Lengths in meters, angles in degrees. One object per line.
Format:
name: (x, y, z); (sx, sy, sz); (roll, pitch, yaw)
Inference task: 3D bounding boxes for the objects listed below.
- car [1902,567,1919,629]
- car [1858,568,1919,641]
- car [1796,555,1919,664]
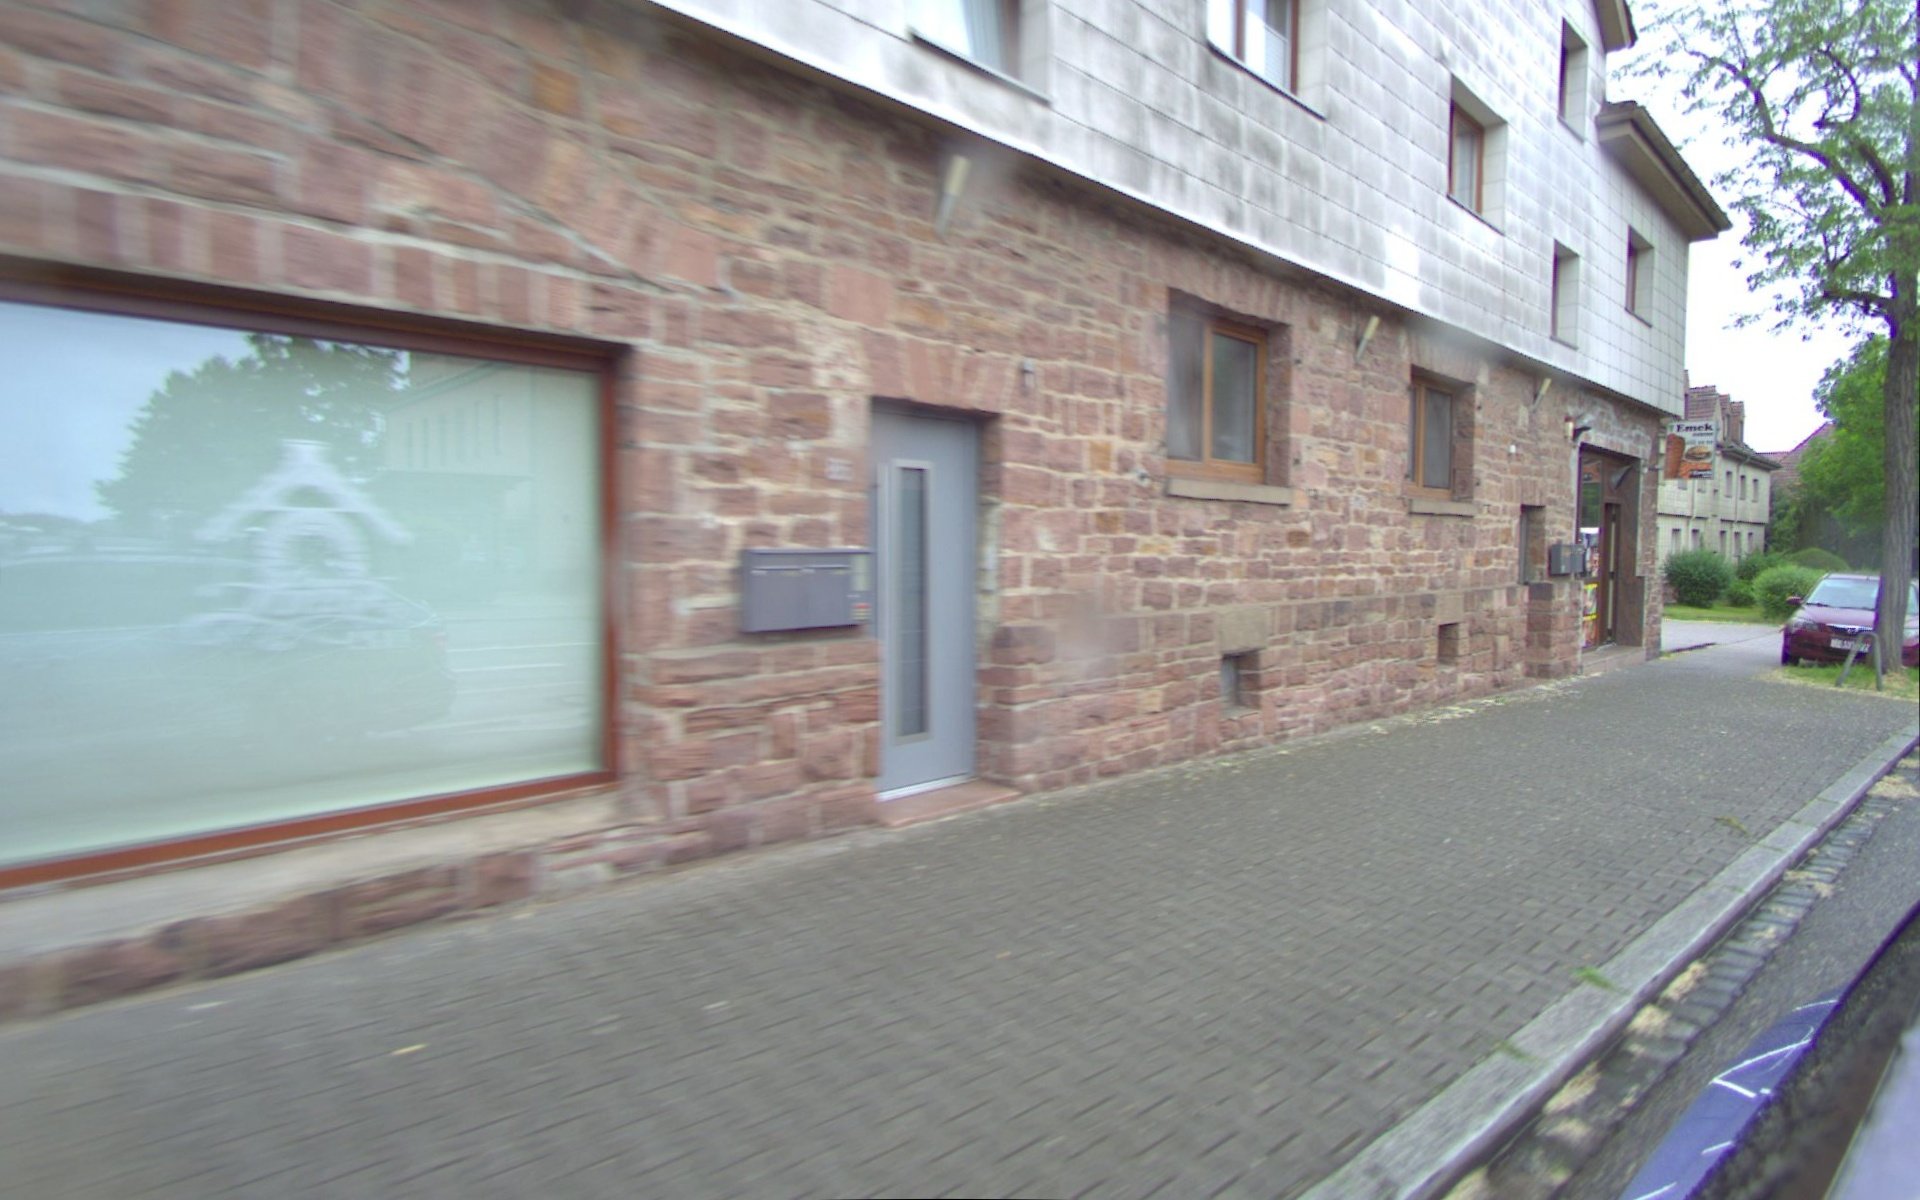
car: (25.629, -0.051, 25.987); (3.933, 1.481, 1.719); (-2, 6, -43)
car: (21.507, 0.066, 22.516); (3.931, 1.440, 1.719); (-2, 6, -41)
car: (14.331, 0.129, 15.766); (3.694, 1.523, 1.611); (0, 0, -44)
